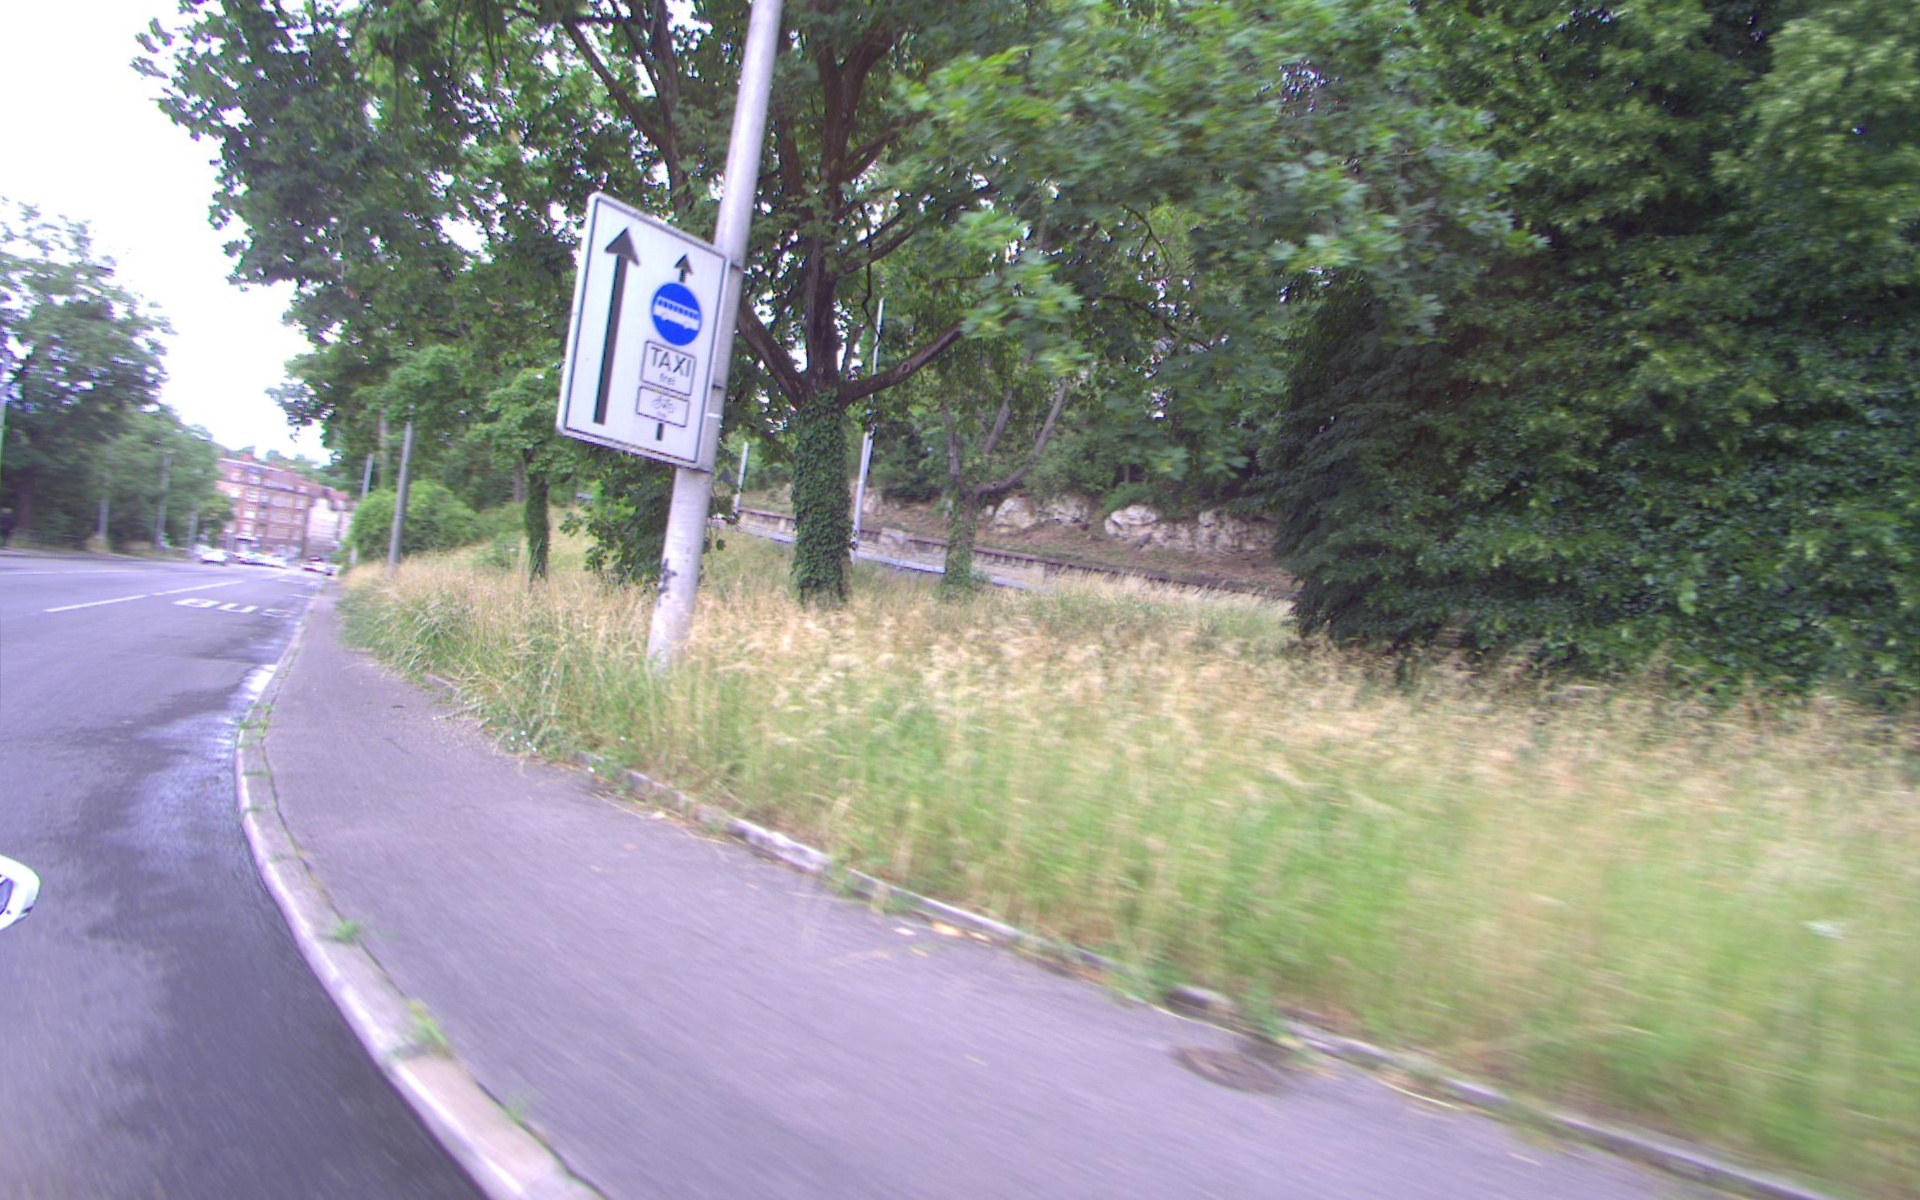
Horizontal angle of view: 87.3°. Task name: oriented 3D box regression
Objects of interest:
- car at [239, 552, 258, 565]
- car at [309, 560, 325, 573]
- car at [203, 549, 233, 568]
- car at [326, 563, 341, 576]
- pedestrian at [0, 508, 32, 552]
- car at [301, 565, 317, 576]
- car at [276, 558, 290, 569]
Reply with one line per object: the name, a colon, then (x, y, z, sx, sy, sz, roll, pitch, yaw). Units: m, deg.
car: (-93.346, -5.444, 132.026, 1.657, 1.464, 3.660, 7, -2, -31)
car: (-120.378, -6.249, 188.396, 1.895, 1.904, 3.976, 10, -4, -27)
car: (-70.182, -3.916, 95.144, 1.782, 1.444, 4.110, 8, -2, -31)
car: (-83.140, -4.043, 133.531, 1.668, 1.469, 3.969, 4, -1, -32)
pedestrian: (-42.490, -3.117, 45.153, 0.785, 1.792, 1.198, 11, -4, -34)
car: (-115.759, -5.228, 178.839, 1.803, 1.446, 3.975, 10, -4, -27)
car: (-119.921, -6.425, 178.313, 1.772, 1.592, 4.246, 7, -3, -32)
